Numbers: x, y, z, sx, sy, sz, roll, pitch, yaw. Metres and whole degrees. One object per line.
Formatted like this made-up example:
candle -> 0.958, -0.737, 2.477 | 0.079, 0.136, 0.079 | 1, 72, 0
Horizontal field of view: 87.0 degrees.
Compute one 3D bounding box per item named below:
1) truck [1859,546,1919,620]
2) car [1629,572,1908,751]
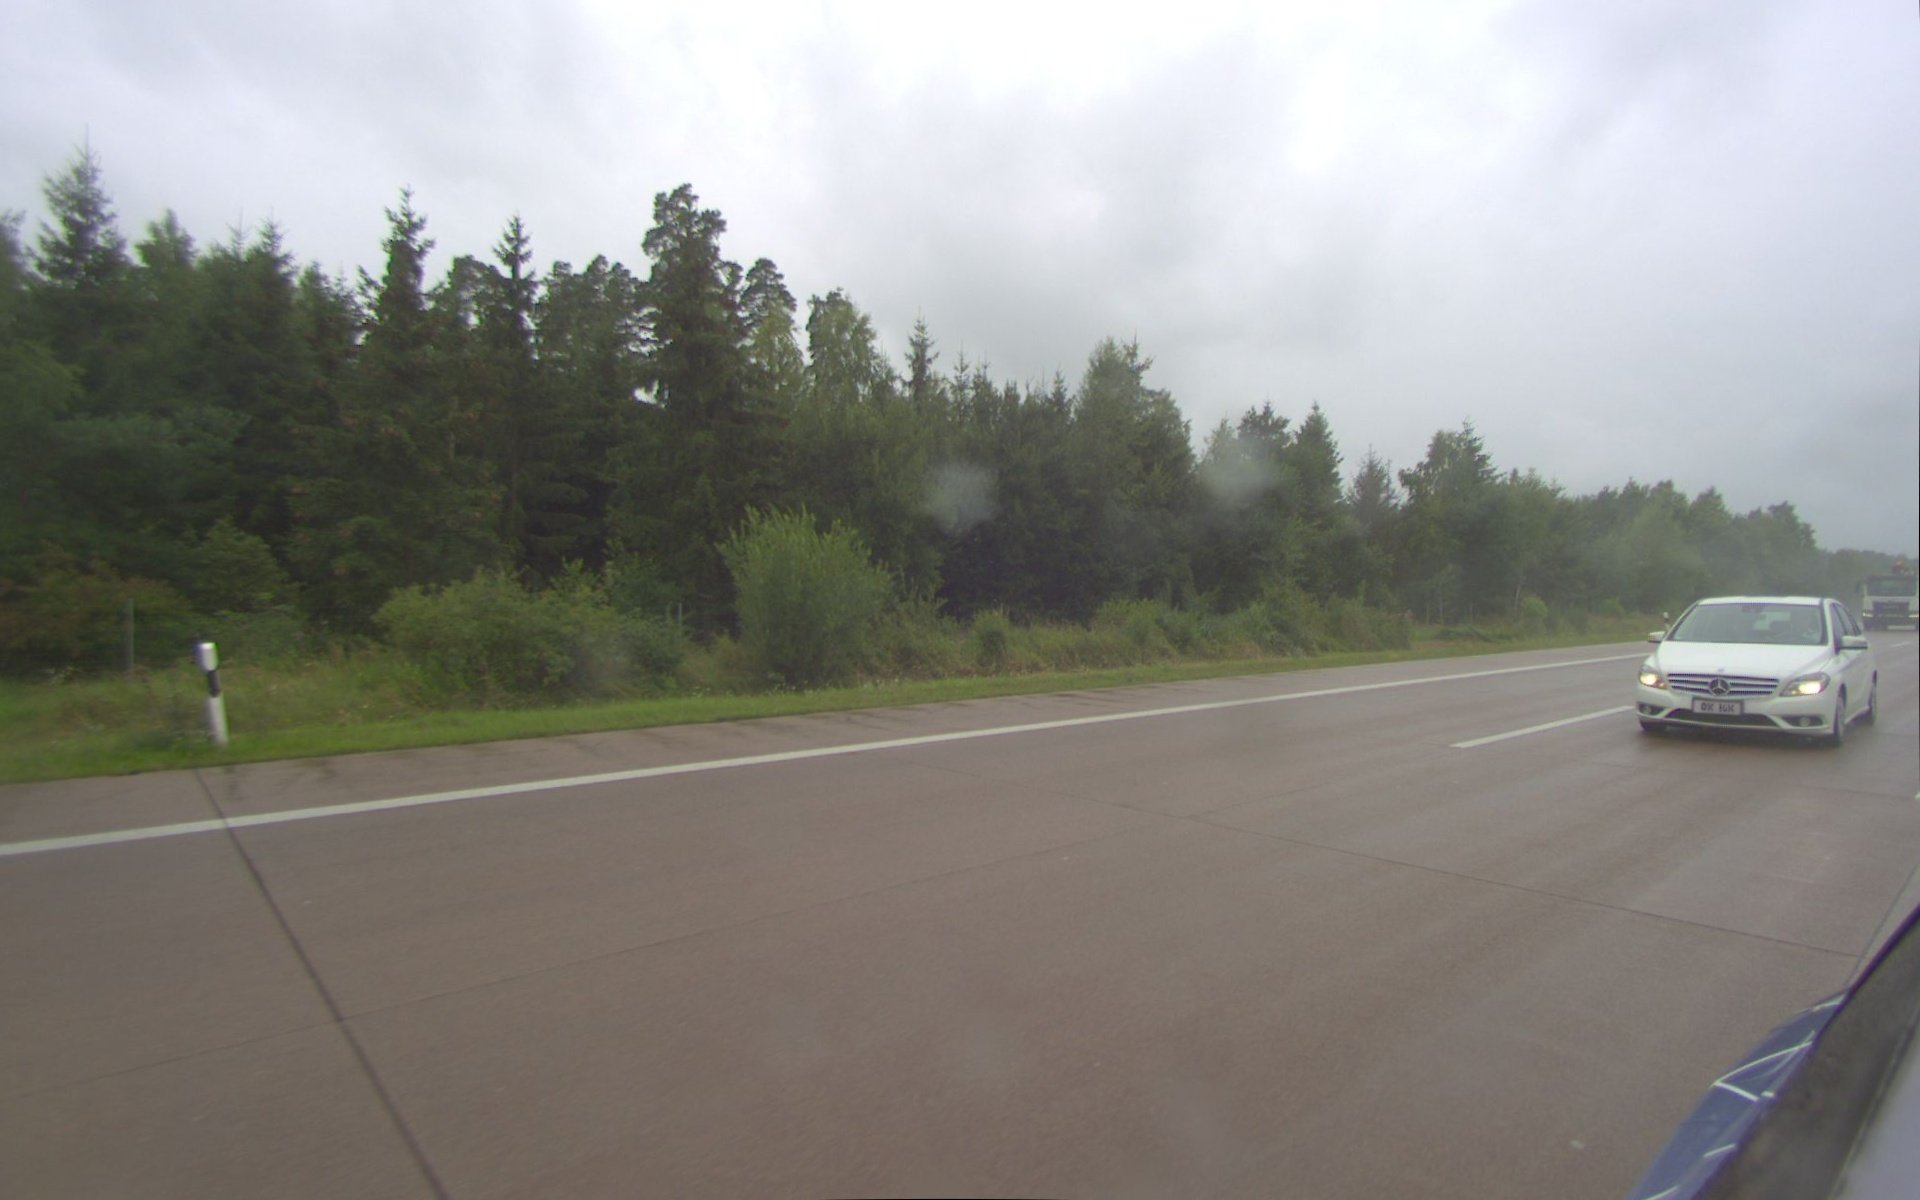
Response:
truck -> 50.915, -0.873, 54.193 | 7.816, 3.777, 3.239 | 0, 0, -41
car -> 9.793, 0.596, 12.112 | 4.661, 1.750, 1.811 | 0, 0, -41
